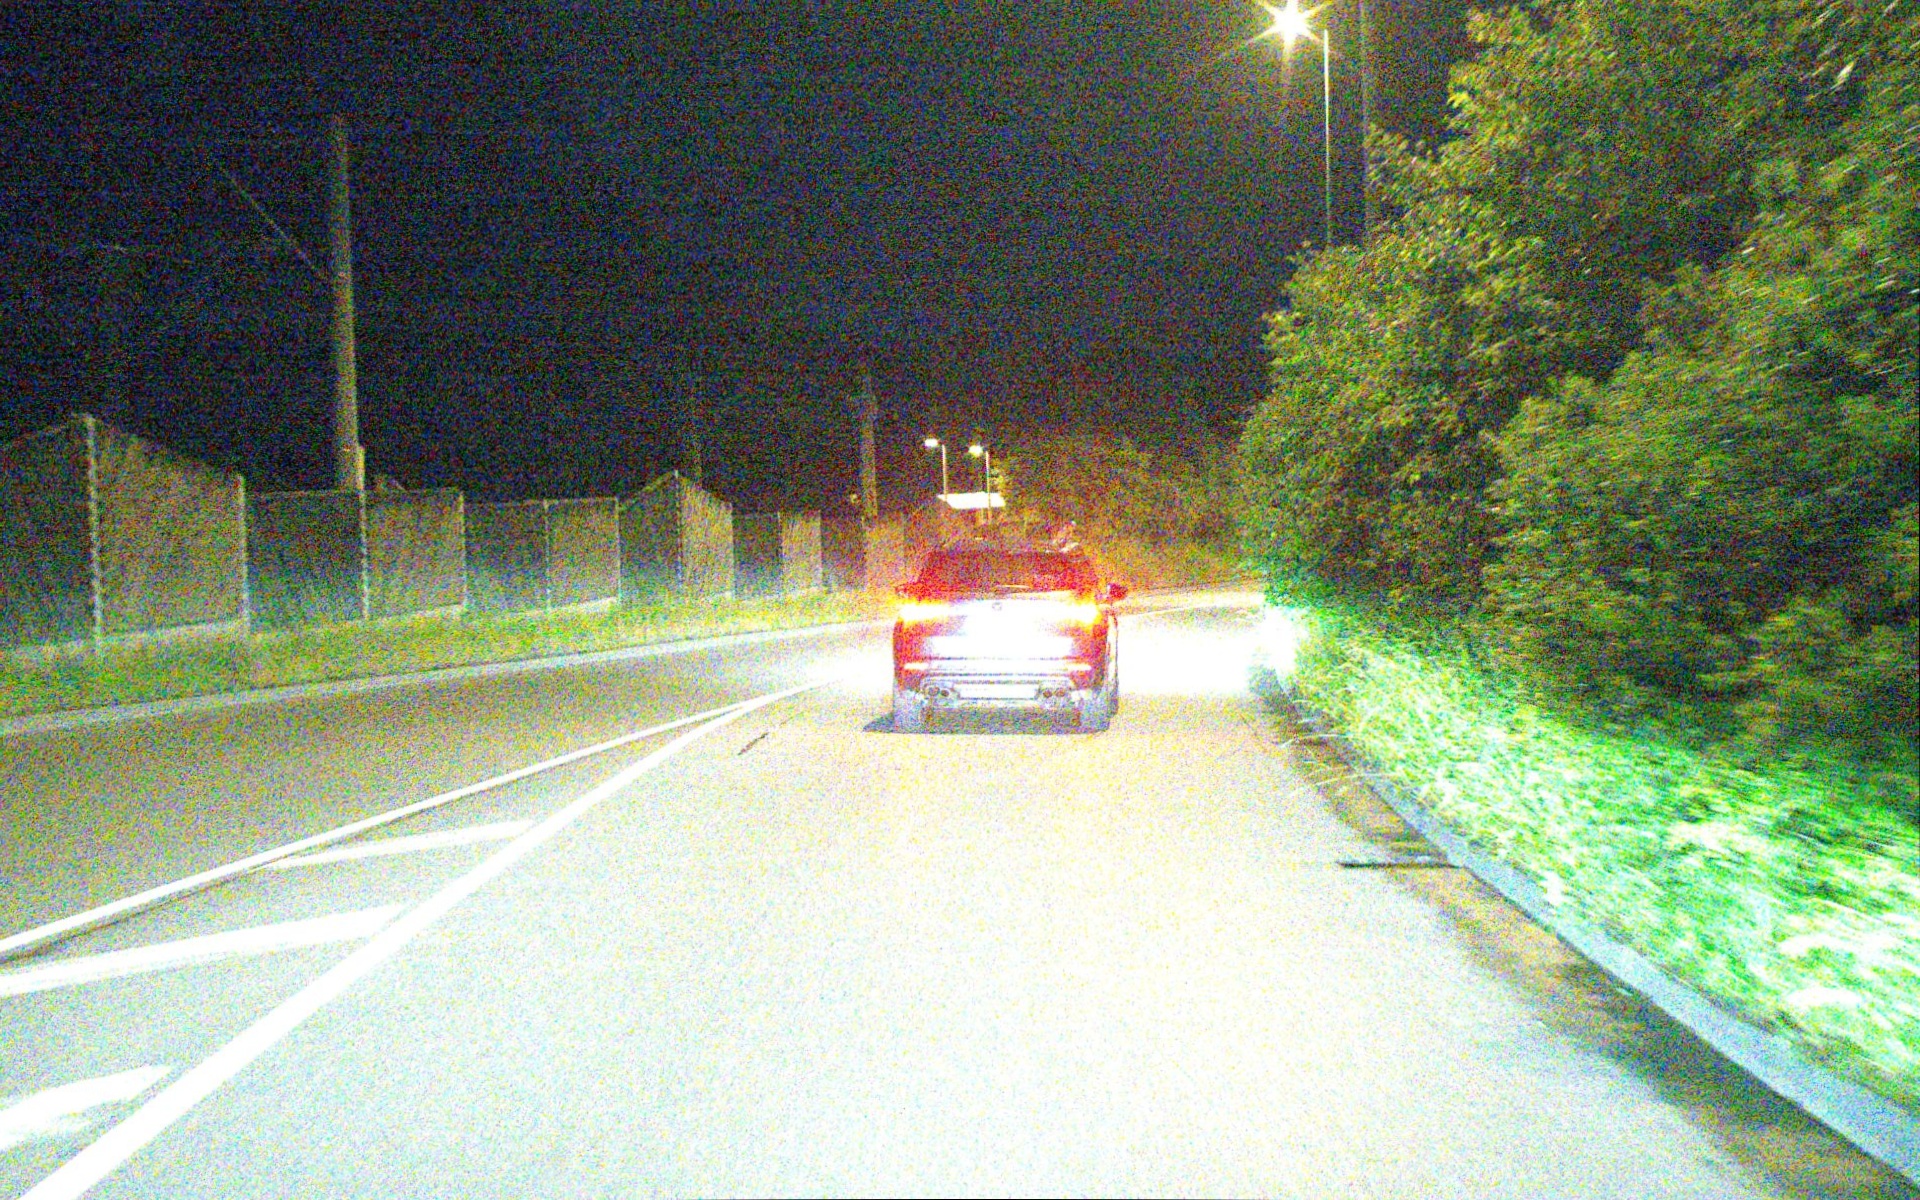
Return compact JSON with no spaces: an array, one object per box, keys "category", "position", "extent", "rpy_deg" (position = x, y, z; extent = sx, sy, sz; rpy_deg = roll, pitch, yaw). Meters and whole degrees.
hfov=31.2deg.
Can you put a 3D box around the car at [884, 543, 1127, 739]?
[{"category":"car","position":[0.455,0.296,29.597],"extent":[1.815,1.568,3.943],"rpy_deg":[0,1,5]}]
